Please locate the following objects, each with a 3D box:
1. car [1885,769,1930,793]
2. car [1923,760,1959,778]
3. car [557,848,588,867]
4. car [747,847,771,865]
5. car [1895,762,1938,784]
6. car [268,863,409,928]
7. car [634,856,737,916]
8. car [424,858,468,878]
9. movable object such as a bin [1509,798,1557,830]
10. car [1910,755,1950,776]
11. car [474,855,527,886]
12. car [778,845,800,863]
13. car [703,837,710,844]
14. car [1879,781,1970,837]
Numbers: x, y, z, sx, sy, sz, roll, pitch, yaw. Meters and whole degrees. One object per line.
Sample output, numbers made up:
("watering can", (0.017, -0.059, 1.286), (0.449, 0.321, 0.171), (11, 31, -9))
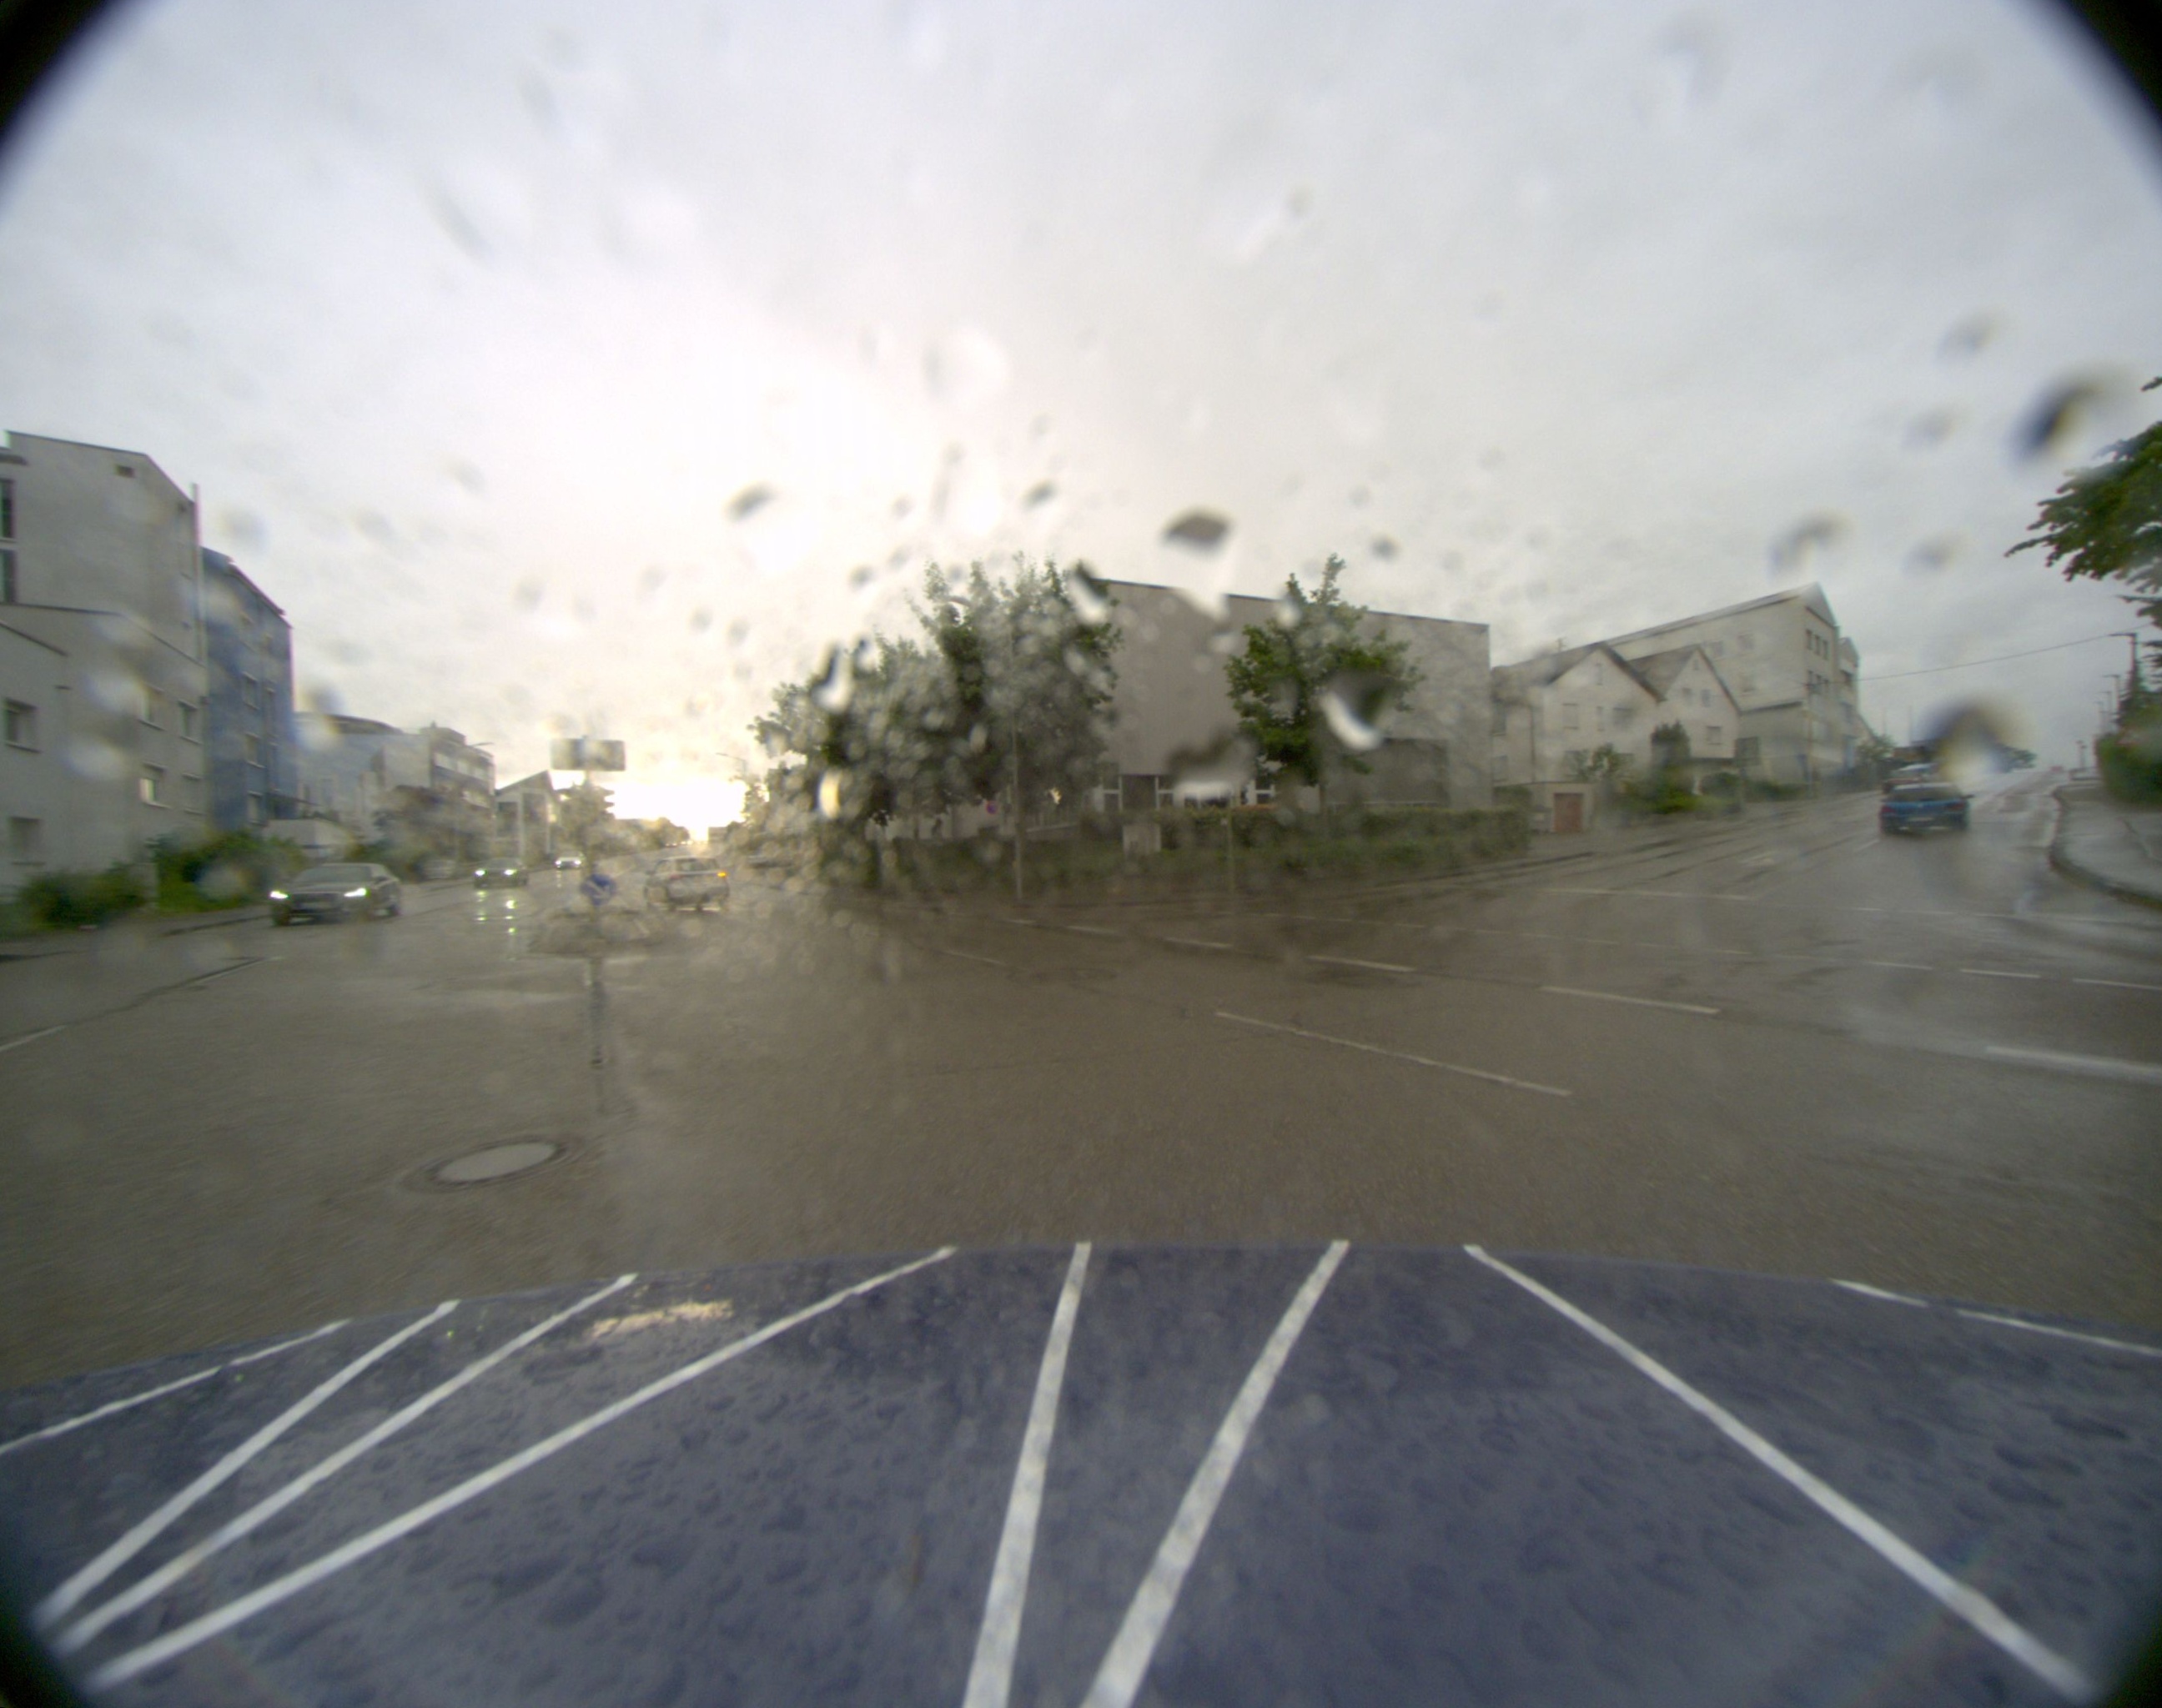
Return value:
("car", (61.961, -5.493, 56.959), (4.006, 1.515, 1.845), (-6, 3, -36))
("car", (81.290, -8.033, 71.821), (4.006, 1.515, 1.845), (-6, 3, -36))
("car", (-44.294, 0.306, 66.313), (1.902, 1.536, 4.011), (-3, 2, -30))
("car", (-27.750, 0.147, 65.570), (1.740, 1.470, 4.013), (-3, 2, -22))
("car", (66.130, -6.400, 60.105), (4.006, 1.515, 1.845), (-6, 3, -36))
("car", (-19.543, 1.015, 20.217), (1.745, 1.477, 4.139), (1, 0, -31))
("car", (-12.018, 0.902, 22.994), (1.697, 1.546, 3.895), (-5, 4, -43))
("car", (-48.065, 1.029, 57.563), (1.661, 1.280, 3.873), (-3, 2, -27))
("movable object such as a bin", (23.100, -2.043, 38.830), (1.590, 1.527, 1.446), (-4, 3, -21))
("car", (71.276, -7.413, 63.792), (4.006, 1.515, 1.845), (-6, 3, -36))
("car", (-30.552, 0.829, 40.095), (1.757, 1.470, 3.990), (-3, 2, -32))
("car", (-25.647, 0.003, 66.653), (1.740, 1.470, 4.013), (-3, 2, -22))
("car", (-99.777, -3.554, 202.436), (1.833, 1.677, 3.991), (-2, 1, -26))
("car", (26.728, -1.446, 24.052), (4.005, 1.438, 1.768), (-7, 5, -39))
